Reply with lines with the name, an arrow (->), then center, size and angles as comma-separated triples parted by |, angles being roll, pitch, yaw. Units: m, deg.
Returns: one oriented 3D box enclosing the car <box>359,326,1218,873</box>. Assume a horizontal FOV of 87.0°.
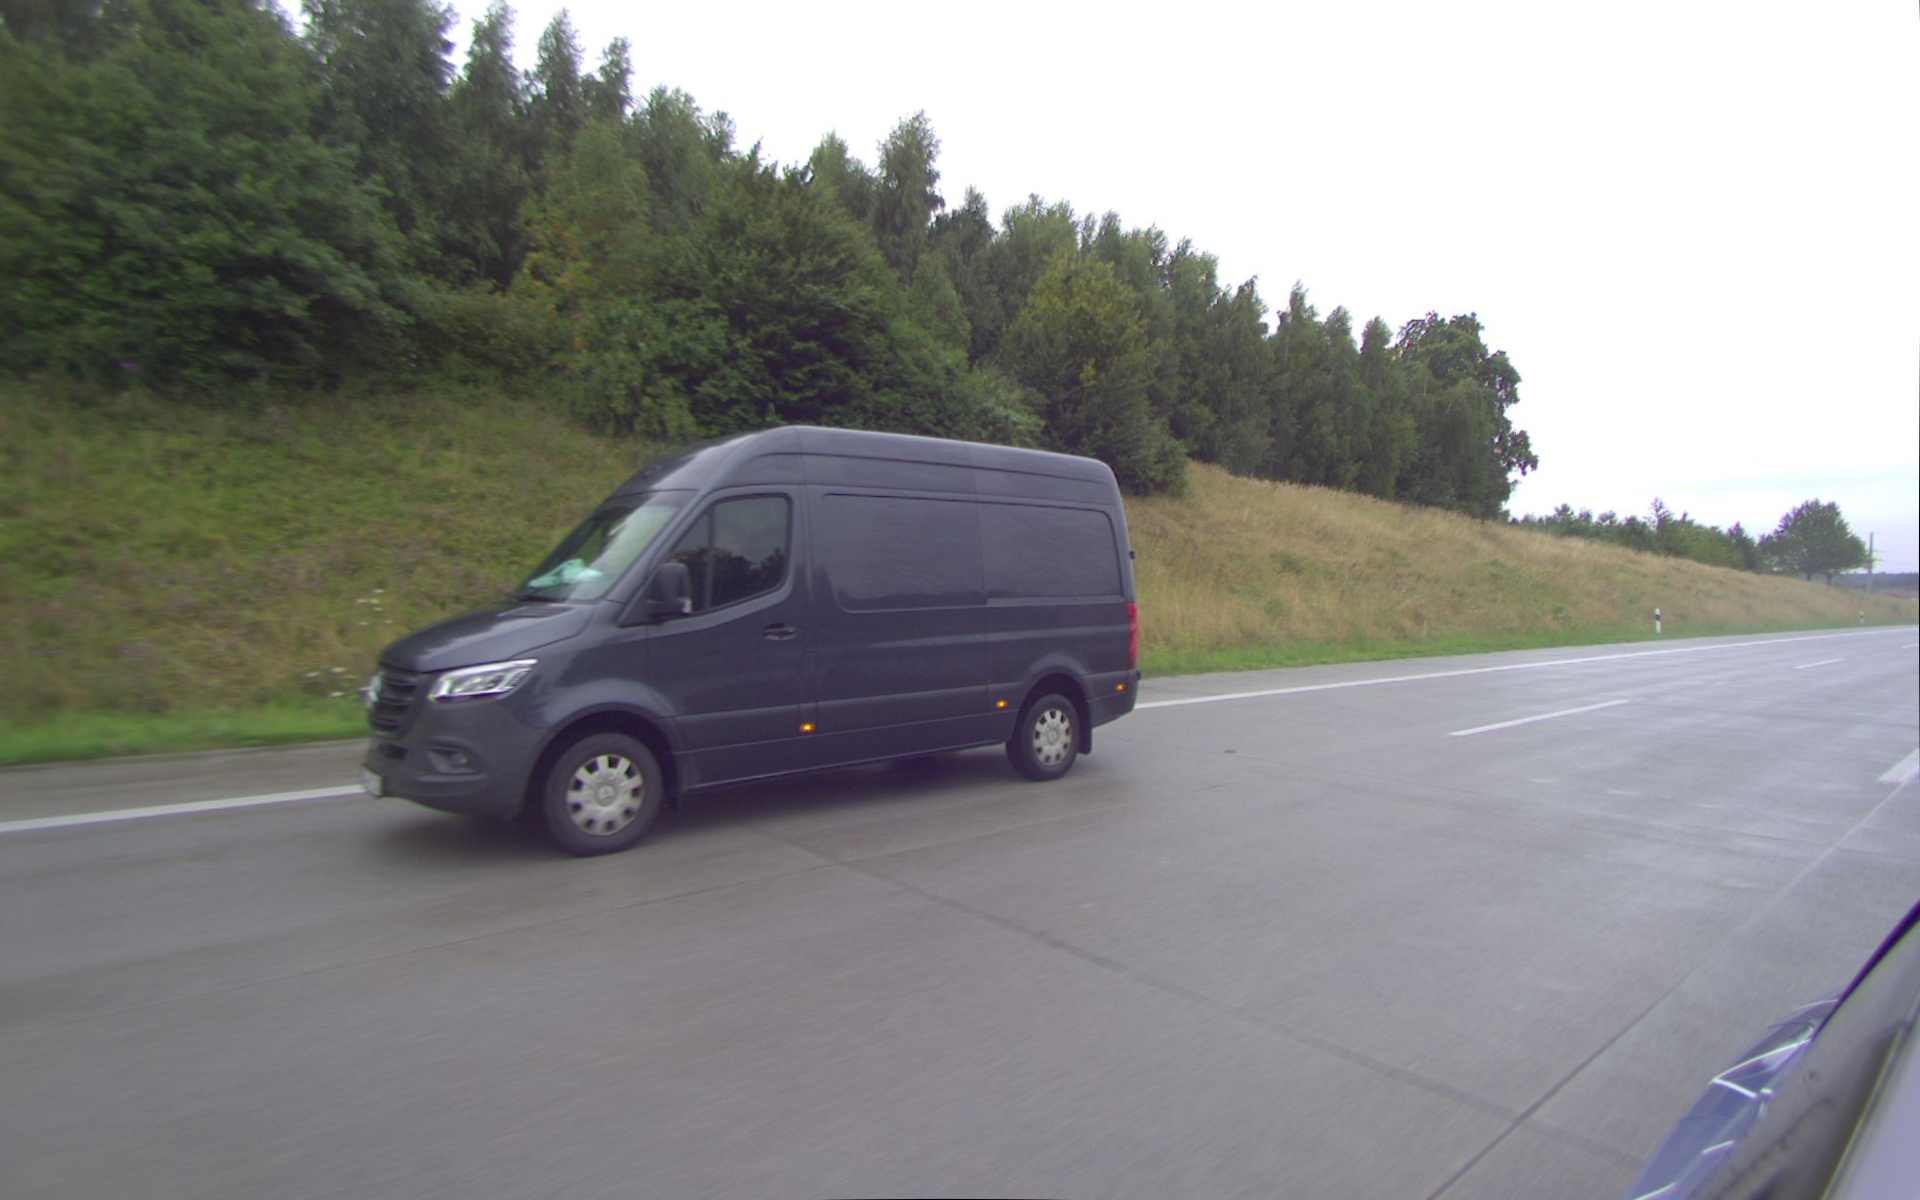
car -> -0.755, -0.004, 7.819 | 6.469, 2.693, 1.945 | 0, 0, -40
